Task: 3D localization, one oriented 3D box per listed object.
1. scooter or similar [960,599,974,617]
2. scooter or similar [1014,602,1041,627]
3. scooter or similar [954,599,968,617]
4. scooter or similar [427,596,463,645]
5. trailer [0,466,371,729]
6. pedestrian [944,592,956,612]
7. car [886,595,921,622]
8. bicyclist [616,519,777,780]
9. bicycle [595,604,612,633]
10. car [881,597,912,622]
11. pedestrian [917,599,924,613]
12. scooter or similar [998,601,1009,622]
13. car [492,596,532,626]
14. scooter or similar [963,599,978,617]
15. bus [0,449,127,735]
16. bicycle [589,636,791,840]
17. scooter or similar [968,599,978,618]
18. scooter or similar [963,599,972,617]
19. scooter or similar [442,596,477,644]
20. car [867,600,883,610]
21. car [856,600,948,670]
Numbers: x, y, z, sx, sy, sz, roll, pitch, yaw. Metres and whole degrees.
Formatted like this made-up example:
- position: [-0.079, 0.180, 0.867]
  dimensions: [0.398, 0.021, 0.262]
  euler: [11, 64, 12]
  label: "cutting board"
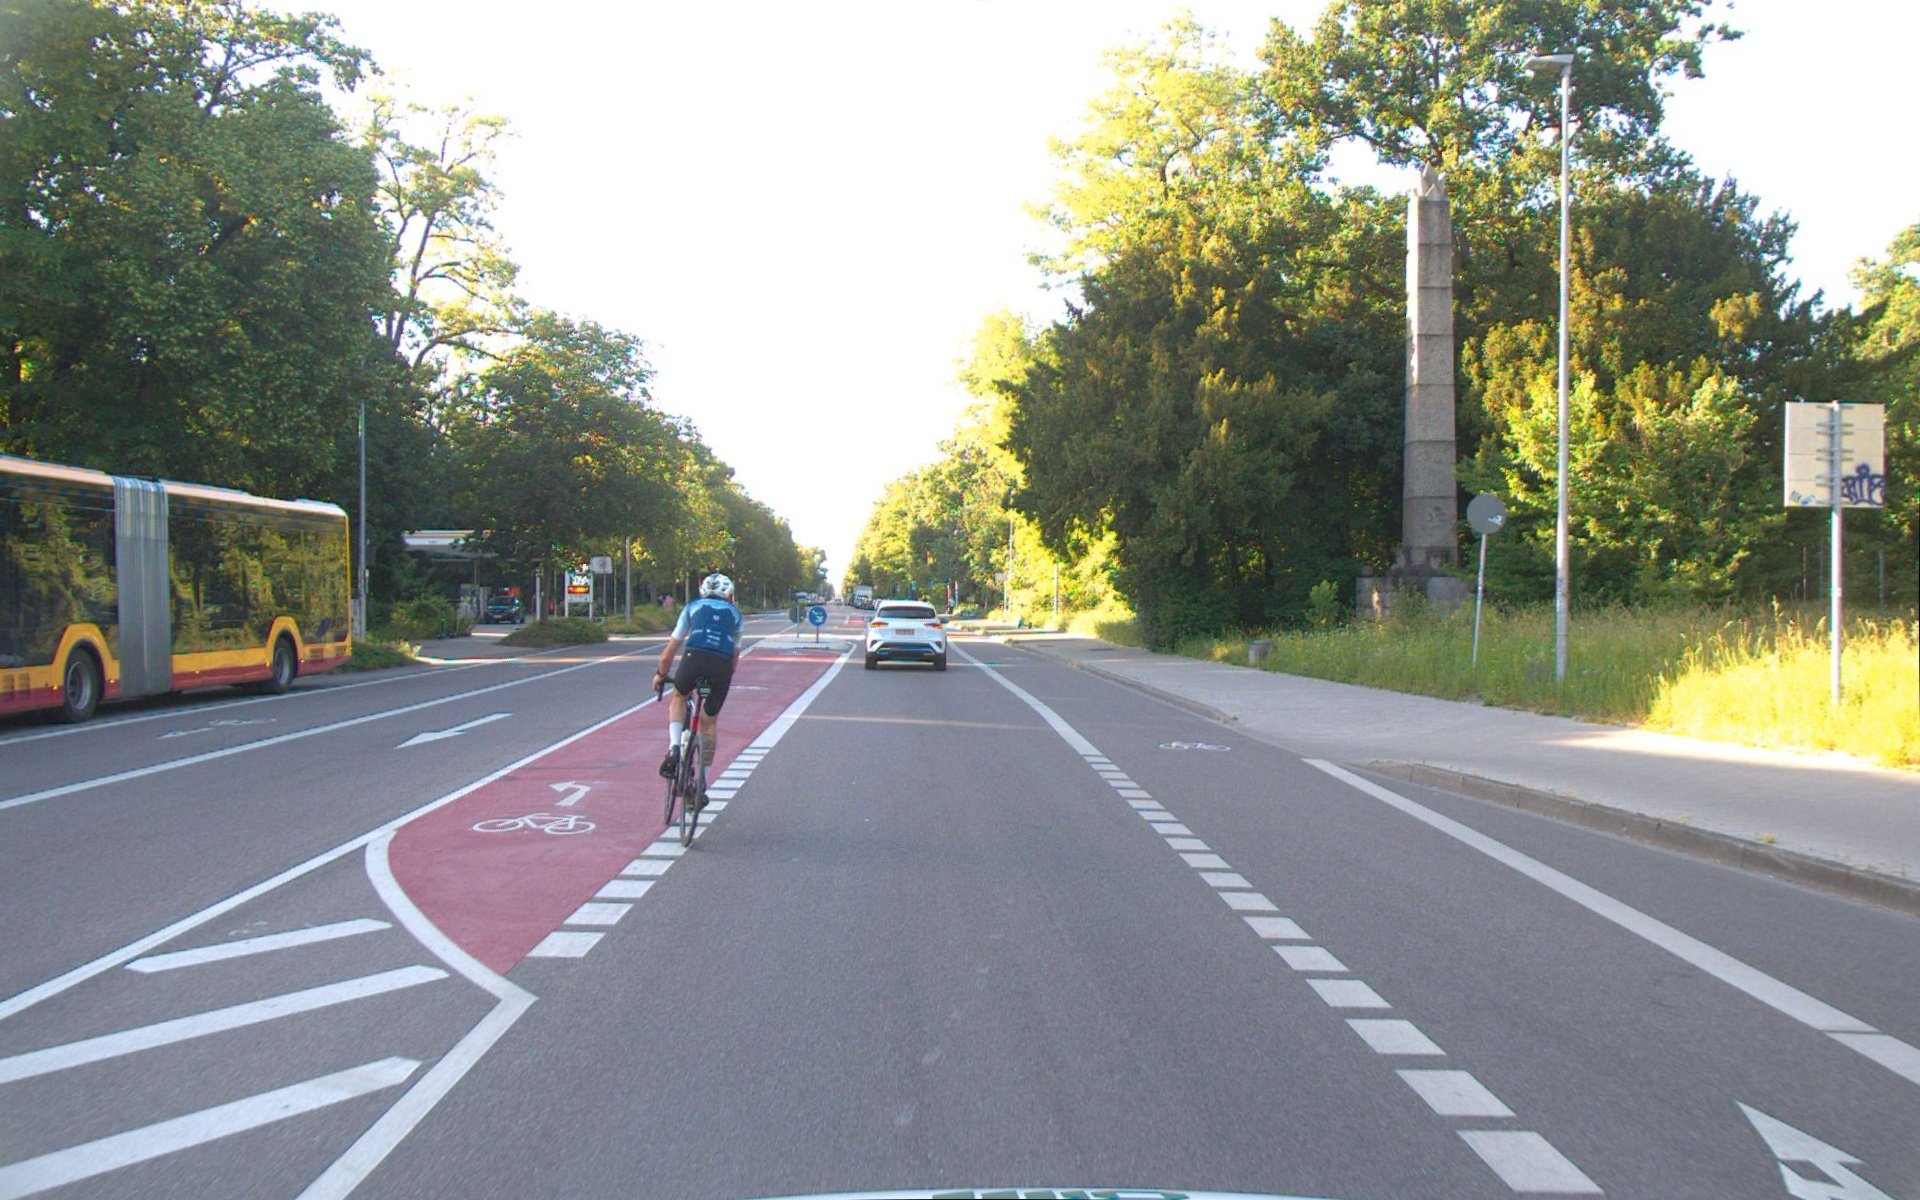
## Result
- position: [0.580, 0.660, 134.017]
  dimensions: [0.672, 1.448, 1.672]
  euler: [0, 0, -19]
  label: "scooter or similar"
- position: [3.462, 0.720, 84.490]
  dimensions: [0.525, 1.272, 1.531]
  euler: [0, 0, 43]
  label: "scooter or similar"
- position: [0.076, 0.662, 135.665]
  dimensions: [0.672, 1.448, 1.672]
  euler: [0, 0, -19]
  label: "scooter or similar"
- position: [-18.486, 0.724, 59.360]
  dimensions: [0.811, 1.747, 1.740]
  euler: [0, 0, -3]
  label: "scooter or similar"
- position: [-12.459, -0.026, 26.439]
  dimensions: [2.797, 3.414, 9.359]
  euler: [2, 0, -1]
  label: "trailer"
- position: [-0.828, 0.179, 136.180]
  dimensions: [0.744, 1.591, 0.797]
  euler: [0, 0, -21]
  label: "pedestrian"
- position: [-3.301, 0.476, 96.065]
  dimensions: [1.954, 1.545, 3.997]
  euler: [0, 0, -3]
  label: "car"
- position: [-1.677, 0.302, 10.666]
  dimensions: [0.842, 1.594, 0.881]
  euler: [1, 0, 2]
  label: "bicyclist"
- position: [-16.222, 0.839, 75.286]
  dimensions: [0.642, 1.272, 2.155]
  euler: [0, 0, -9]
  label: "bicycle"
- position: [-3.675, 0.528, 95.701]
  dimensions: [1.642, 1.442, 3.573]
  euler: [0, 0, 0]
  label: "car"
- position: [-4.626, 0.718, 193.008]
  dimensions: [0.684, 1.682, 0.875]
  euler: [0, 0, -4]
  label: "pedestrian"
- position: [2.688, 0.694, 102.319]
  dimensions: [0.522, 1.272, 1.540]
  euler: [0, 0, -4]
  label: "scooter or similar"
- position: [-26.785, 0.657, 98.968]
  dimensions: [1.678, 1.721, 4.446]
  euler: [0, 0, -8]
  label: "car"
- position: [0.829, 0.659, 131.959]
  dimensions: [0.671, 1.448, 1.673]
  euler: [0, 0, -17]
  label: "scooter or similar"
- position: [-12.261, -0.078, 17.462]
  dimensions: [2.783, 3.252, 8.596]
  euler: [0, 0, -2]
  label: "bus"
- position: [-1.687, 0.829, 10.713]
  dimensions: [0.873, 1.114, 2.136]
  euler: [1, 0, 2]
  label: "bicycle"
- position: [1.015, 0.666, 128.014]
  dimensions: [0.668, 1.448, 1.680]
  euler: [0, 0, -4]
  label: "scooter or similar"
- position: [0.624, 0.652, 137.016]
  dimensions: [0.668, 1.448, 1.680]
  euler: [0, 0, -4]
  label: "scooter or similar"
- position: [-18.541, 0.735, 61.302]
  dimensions: [0.811, 1.747, 1.740]
  euler: [0, 0, -3]
  label: "scooter or similar"
- position: [-11.582, 0.688, 225.431]
  dimensions: [1.956, 1.350, 3.993]
  euler: [0, 0, -7]
  label: "car"
- position: [-1.350, 0.744, 37.295]
  dimensions: [1.728, 1.485, 3.811]
  euler: [1, 0, -7]
  label: "car"
